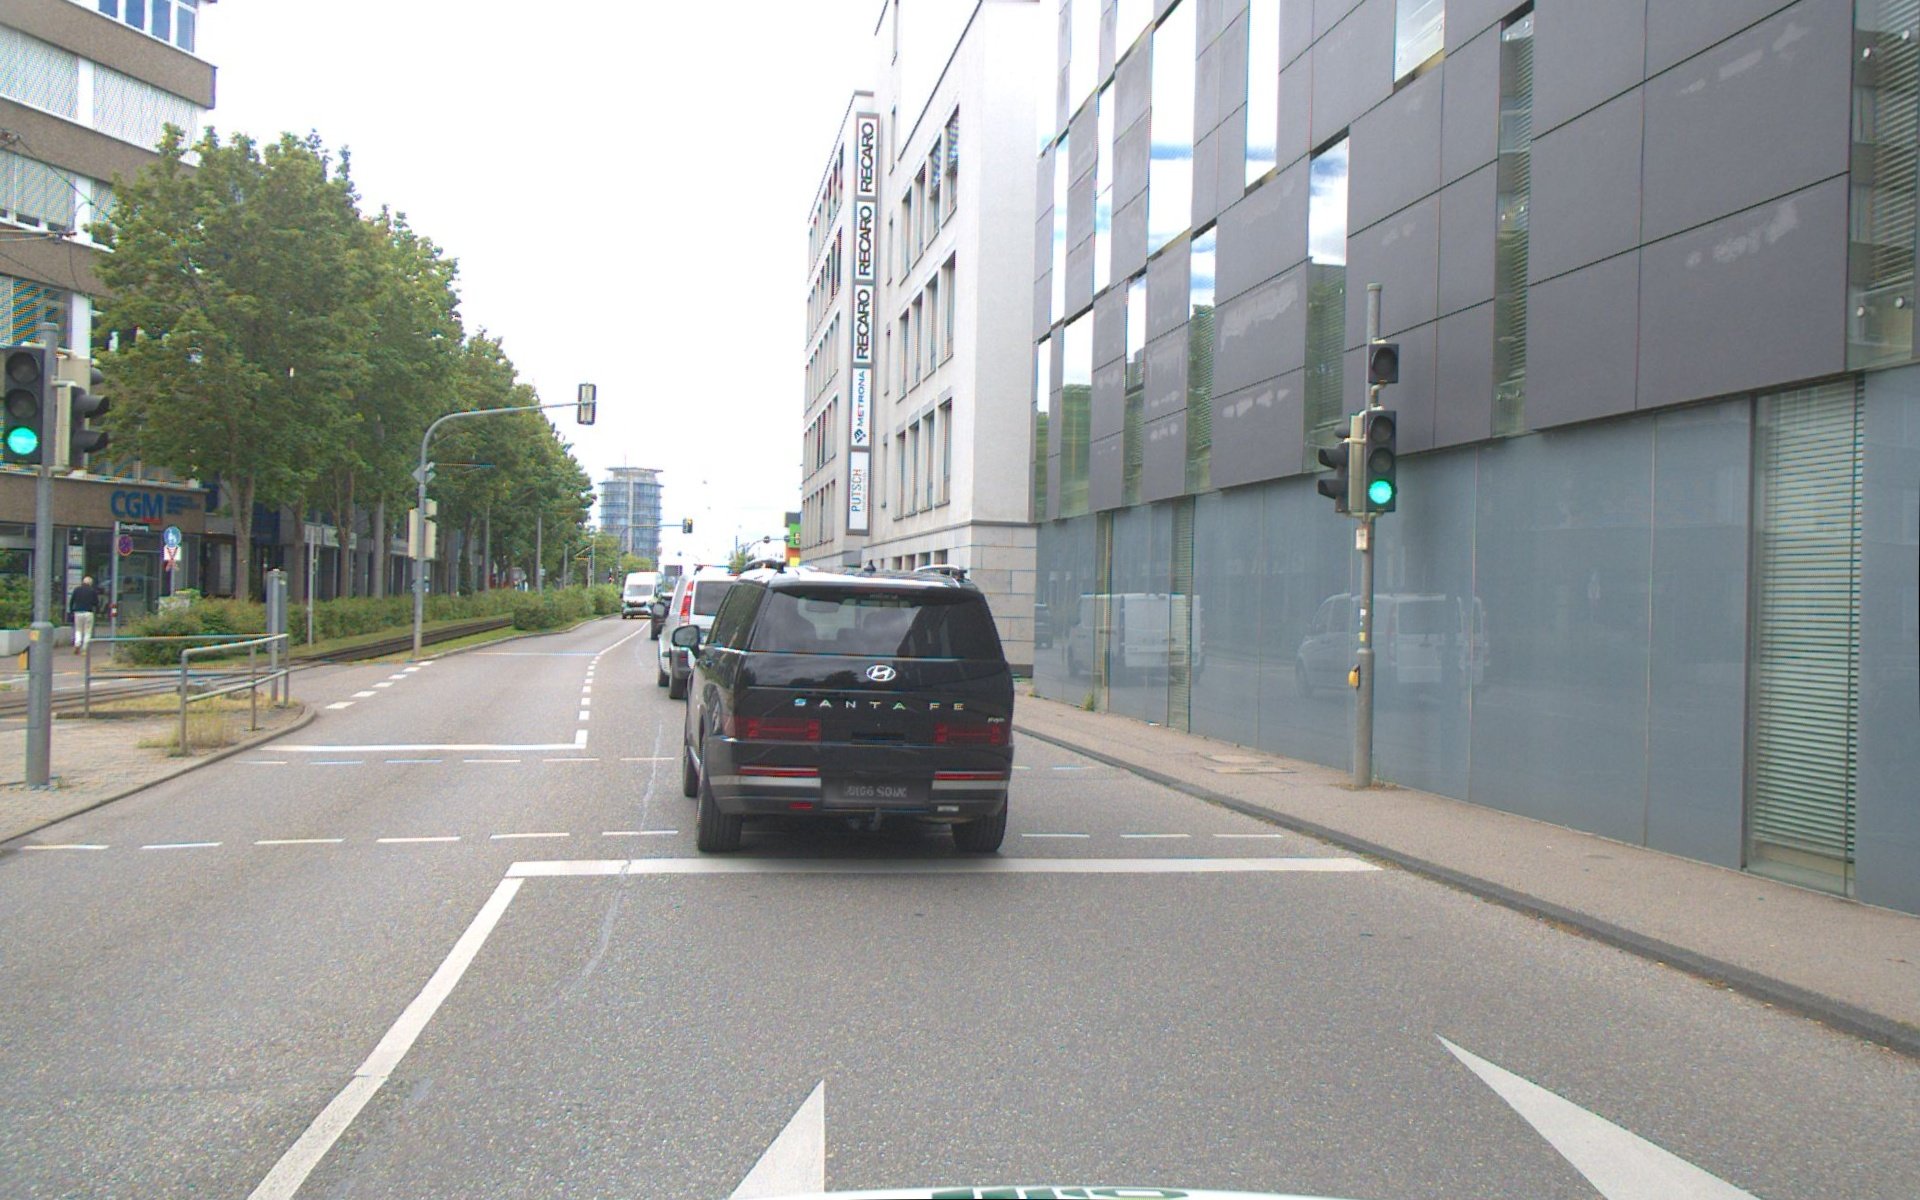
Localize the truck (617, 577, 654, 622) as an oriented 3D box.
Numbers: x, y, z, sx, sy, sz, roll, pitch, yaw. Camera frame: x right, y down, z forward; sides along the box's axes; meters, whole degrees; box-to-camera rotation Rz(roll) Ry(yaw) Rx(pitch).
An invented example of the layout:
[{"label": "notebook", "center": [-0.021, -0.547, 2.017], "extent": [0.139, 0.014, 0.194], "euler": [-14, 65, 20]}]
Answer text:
[{"label": "truck", "center": [-19.922, -0.028, 101.671], "extent": [2.126, 2.661, 5.781], "euler": [1, 0, -10]}]

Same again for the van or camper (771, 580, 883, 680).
[{"label": "van or camper", "center": [-2.919, 0.605, 35.398], "extent": [1.957, 1.949, 4.322], "euler": [2, 0, -10]}]

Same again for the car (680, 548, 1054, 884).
[{"label": "car", "center": [-0.846, 0.646, 11.131], "extent": [1.875, 1.780, 4.384], "euler": [1, -1, -12]}]

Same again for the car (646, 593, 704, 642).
[{"label": "car", "center": [-10.166, 0.603, 59.241], "extent": [1.725, 1.637, 4.183], "euler": [1, 0, -6]}]

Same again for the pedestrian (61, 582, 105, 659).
[{"label": "pedestrian", "center": [-19.985, 0.474, 37.693], "extent": [0.675, 1.735, 0.681], "euler": [0, -1, -8]}]

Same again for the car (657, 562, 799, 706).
[{"label": "car", "center": [-3.733, 0.490, 25.976], "extent": [1.897, 2.029, 4.522], "euler": [1, 0, -12]}]
